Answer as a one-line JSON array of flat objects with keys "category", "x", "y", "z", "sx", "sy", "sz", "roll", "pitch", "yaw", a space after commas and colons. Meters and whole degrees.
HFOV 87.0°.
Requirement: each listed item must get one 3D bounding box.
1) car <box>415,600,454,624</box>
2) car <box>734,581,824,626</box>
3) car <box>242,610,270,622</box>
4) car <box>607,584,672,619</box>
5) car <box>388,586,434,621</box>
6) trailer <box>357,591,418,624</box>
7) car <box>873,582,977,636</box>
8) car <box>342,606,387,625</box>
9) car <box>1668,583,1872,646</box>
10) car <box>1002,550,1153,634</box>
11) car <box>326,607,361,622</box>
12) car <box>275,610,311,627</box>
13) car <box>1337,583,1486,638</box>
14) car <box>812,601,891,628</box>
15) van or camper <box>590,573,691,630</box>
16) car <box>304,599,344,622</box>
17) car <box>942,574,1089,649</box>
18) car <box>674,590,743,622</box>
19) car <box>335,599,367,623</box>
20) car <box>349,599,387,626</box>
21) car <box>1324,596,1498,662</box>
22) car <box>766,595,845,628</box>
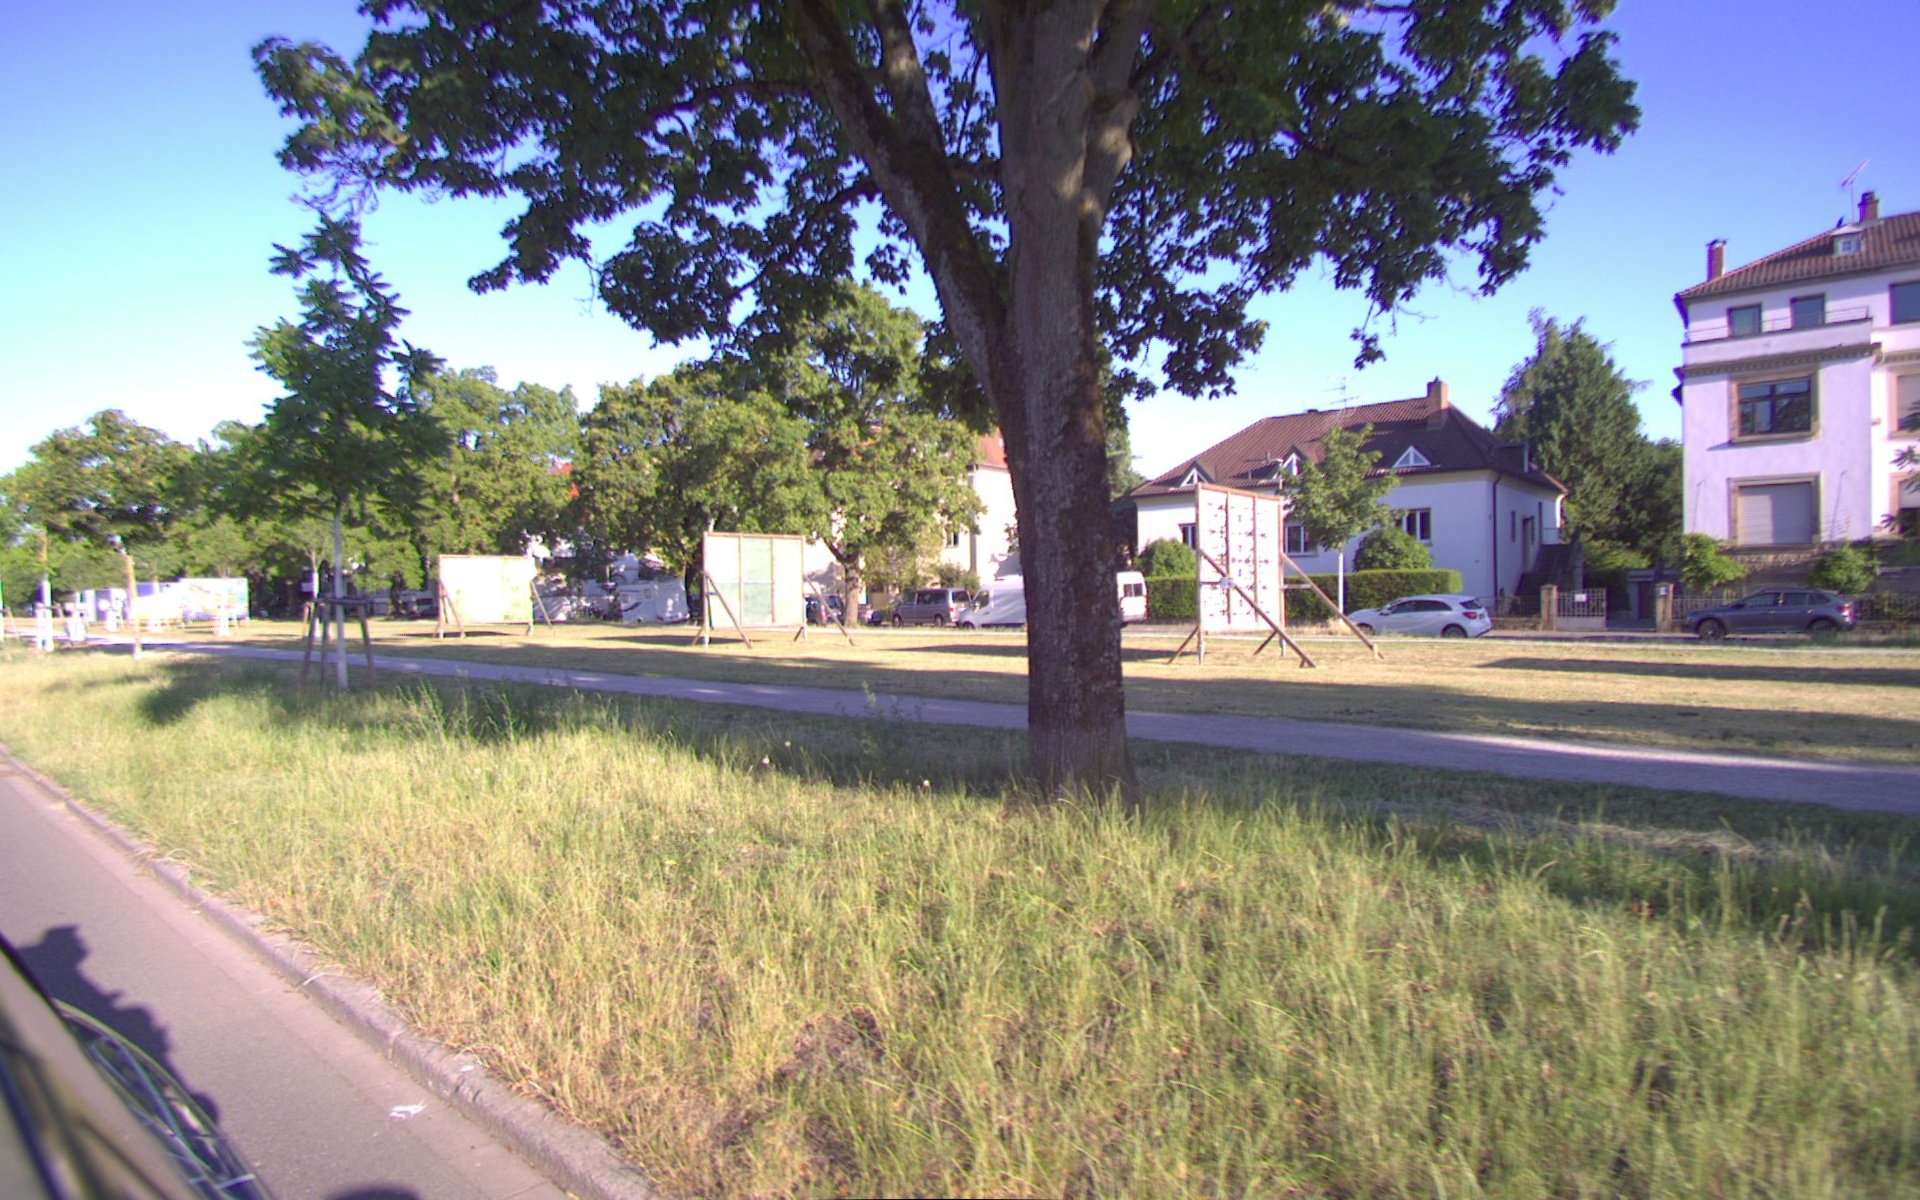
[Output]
[{"category": "car", "x": -49.048, "y": 1.135, "z": 94.480, "sx": 3.999, "sy": 2.171, "sz": 1.972, "roll": -1, "pitch": 0, "yaw": 42}, {"category": "car", "x": -11.197, "y": 0.197, "z": 62.286, "sx": 6.088, "sy": 2.617, "sz": 1.972, "roll": 0, "pitch": -3, "yaw": 41}, {"category": "car", "x": -93.307, "y": 2.128, "z": 134.087, "sx": 3.993, "sy": 1.510, "sz": 1.975, "roll": -2, "pitch": -1, "yaw": 37}, {"category": "car", "x": -19.308, "y": 0.121, "z": 60.933, "sx": 3.999, "sy": 2.029, "sz": 1.972, "roll": -1, "pitch": 0, "yaw": 42}, {"category": "car", "x": -53.799, "y": 0.353, "z": 99.090, "sx": 6.072, "sy": 3.274, "sz": 1.973, "roll": -2, "pitch": -1, "yaw": 41}, {"category": "trailer", "x": -49.641, "y": 0.593, "z": 87.696, "sx": 6.633, "sy": 2.679, "sz": 2.448, "roll": 0, "pitch": -3, "yaw": 41}, {"category": "car", "x": -1.884, "y": 0.464, "z": 53.262, "sx": 5.321, "sy": 2.624, "sz": 2.114, "roll": 1, "pitch": -3, "yaw": 40}, {"category": "car", "x": -53.927, "y": 1.377, "z": 91.660, "sx": 4.947, "sy": 1.654, "sz": 1.974, "roll": 0, "pitch": 1, "yaw": 40}, {"category": "car", "x": 24.130, "y": 0.430, "z": 30.295, "sx": 4.665, "sy": 1.715, "sz": 1.763, "roll": 0, "pitch": -3, "yaw": 41}, {"category": "car", "x": 5.330, "y": -0.352, "z": 46.816, "sx": 6.763, "sy": 3.586, "sz": 2.279, "roll": 0, "pitch": -3, "yaw": 42}, {"category": "car", "x": -57.936, "y": 1.321, "z": 95.058, "sx": 4.043, "sy": 1.325, "sz": 1.832, "roll": 0, "pitch": 1, "yaw": 44}, {"category": "car", "x": -69.559, "y": 1.917, "z": 105.494, "sx": 4.341, "sy": 1.742, "sz": 1.973, "roll": -2, "pitch": -1, "yaw": 40}, {"category": "car", "x": 16.560, "y": 0.364, "z": 37.241, "sx": 4.712, "sy": 1.868, "sz": 1.712, "roll": 0, "pitch": -3, "yaw": 41}, {"category": "car", "x": -6.195, "y": 0.800, "z": 57.458, "sx": 1.970, "sy": 1.413, "sz": 4.564, "roll": 4, "pitch": -3, "yaw": -45}, {"category": "van or camper", "x": -19.308, "y": 0.121, "z": 60.933, "sx": 6.903, "sy": 3.287, "sz": 2.614, "roll": -1, "pitch": 0, "yaw": 42}, {"category": "car", "x": -62.104, "y": 1.019, "z": 98.788, "sx": 4.566, "sy": 2.191, "sz": 1.974, "roll": -2, "pitch": -1, "yaw": 39}, {"category": "car", "x": 2.218, "y": 0.473, "z": 41.876, "sx": 5.870, "sy": 2.847, "sz": 2.236, "roll": 0, "pitch": -3, "yaw": 42}, {"category": "car", "x": -16.592, "y": 0.427, "z": 66.676, "sx": 5.049, "sy": 2.019, "sz": 1.949, "roll": -1, "pitch": 0, "yaw": 42}, {"category": "car", "x": -66.358, "y": 1.188, "z": 110.259, "sx": 3.999, "sy": 2.560, "sz": 1.972, "roll": 1, "pitch": 1, "yaw": 42}, {"category": "car", "x": -62.690, "y": 1.339, "z": 107.074, "sx": 5.043, "sy": 2.660, "sz": 1.924, "roll": 0, "pitch": -3, "yaw": 42}, {"category": "car", "x": 14.029, "y": 0.880, "z": 31.643, "sx": 4.642, "sy": 1.914, "sz": 1.813, "roll": 0, "pitch": -3, "yaw": 43}, {"category": "car", "x": -7.728, "y": 0.587, "z": 50.420, "sx": 4.307, "sy": 1.576, "sz": 1.399, "roll": -1, "pitch": 0, "yaw": 41}]
